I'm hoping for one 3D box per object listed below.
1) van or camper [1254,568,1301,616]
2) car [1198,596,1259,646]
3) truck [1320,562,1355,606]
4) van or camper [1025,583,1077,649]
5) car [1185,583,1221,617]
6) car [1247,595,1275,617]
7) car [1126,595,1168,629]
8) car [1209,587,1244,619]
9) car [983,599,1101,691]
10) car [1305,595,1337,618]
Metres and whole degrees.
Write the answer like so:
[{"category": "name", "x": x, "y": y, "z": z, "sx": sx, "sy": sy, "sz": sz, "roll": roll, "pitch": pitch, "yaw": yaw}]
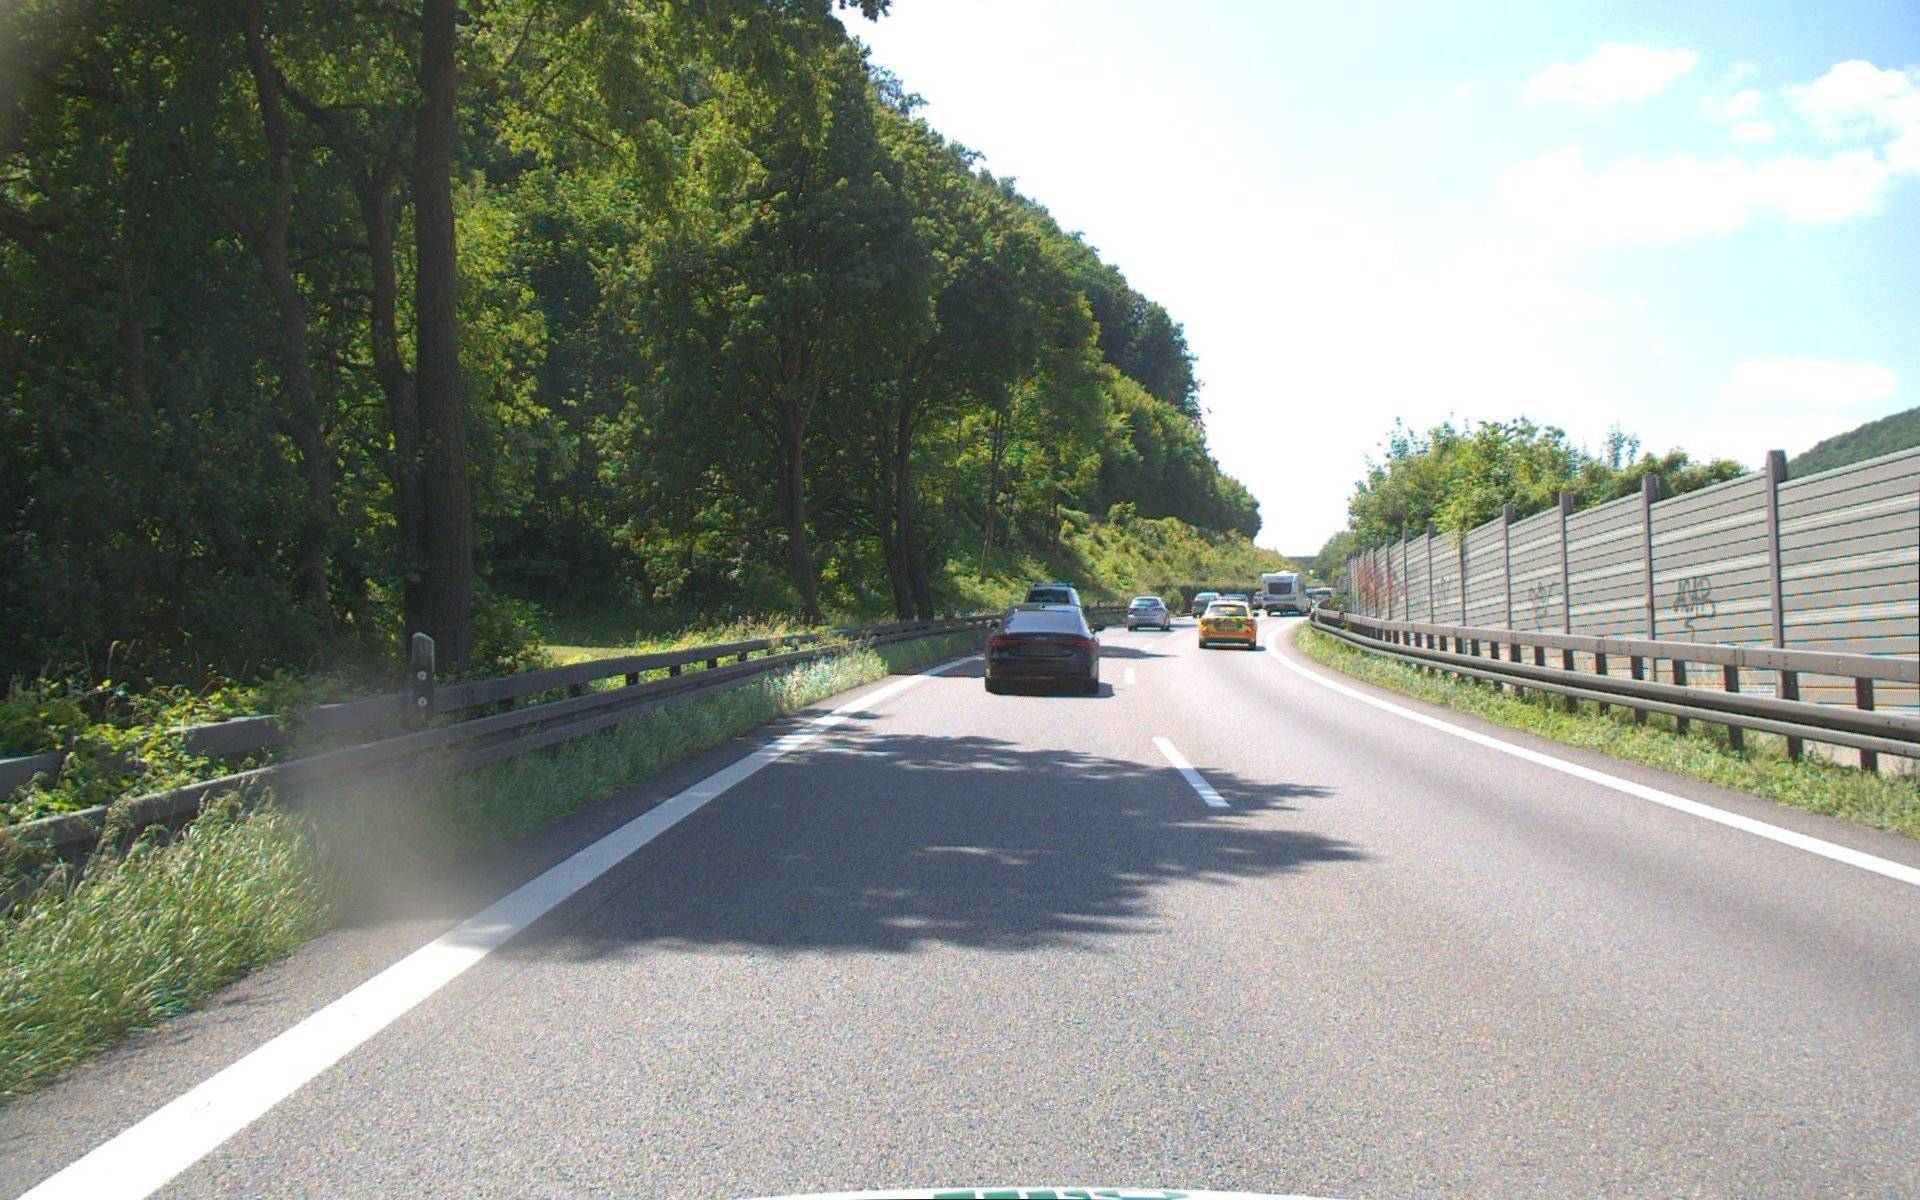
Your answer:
[{"category": "van or camper", "x": 20.284, "y": -0.458, "z": 105.411, "sx": 2.403, "sy": 2.969, "sz": 6.129, "roll": 0, "pitch": -1, "yaw": 16}, {"category": "car", "x": 8.443, "y": 0.646, "z": 51.852, "sx": 1.823, "sy": 1.514, "sz": 4.003, "roll": 0, "pitch": -1, "yaw": 10}, {"category": "truck", "x": 36.714, "y": -1.550, "z": 160.656, "sx": 2.675, "sy": 4.168, "sz": 7.484, "roll": -1, "pitch": 0, "yaw": 17}, {"category": "van or camper", "x": 2.624, "y": 0.461, "z": 48.266, "sx": 1.363, "sy": 1.848, "sz": 4.000, "roll": 0, "pitch": -1, "yaw": 1}, {"category": "car", "x": 14.945, "y": -0.012, "z": 101.745, "sx": 1.951, "sy": 2.049, "sz": 4.004, "roll": -1, "pitch": 0, "yaw": 12}, {"category": "car", "x": 24.067, "y": 0.501, "z": 132.195, "sx": 1.802, "sy": 1.747, "sz": 4.002, "roll": 0, "pitch": -1, "yaw": 17}, {"category": "car", "x": 7.975, "y": 0.522, "z": 70.920, "sx": 1.710, "sy": 1.456, "sz": 4.002, "roll": 0, "pitch": -1, "yaw": 5}, {"category": "car", "x": 14.483, "y": 0.154, "z": 90.050, "sx": 1.735, "sy": 1.665, "sz": 4.003, "roll": -1, "pitch": 0, "yaw": 7}, {"category": "car", "x": 1.307, "y": 0.733, "z": 27.621, "sx": 1.800, "sy": 1.373, "sz": 4.000, "roll": 2, "pitch": -1, "yaw": 1}, {"category": "car", "x": 29.057, "y": 0.501, "z": 133.105, "sx": 1.952, "sy": 1.747, "sz": 4.000, "roll": -1, "pitch": 0, "yaw": 21}]
